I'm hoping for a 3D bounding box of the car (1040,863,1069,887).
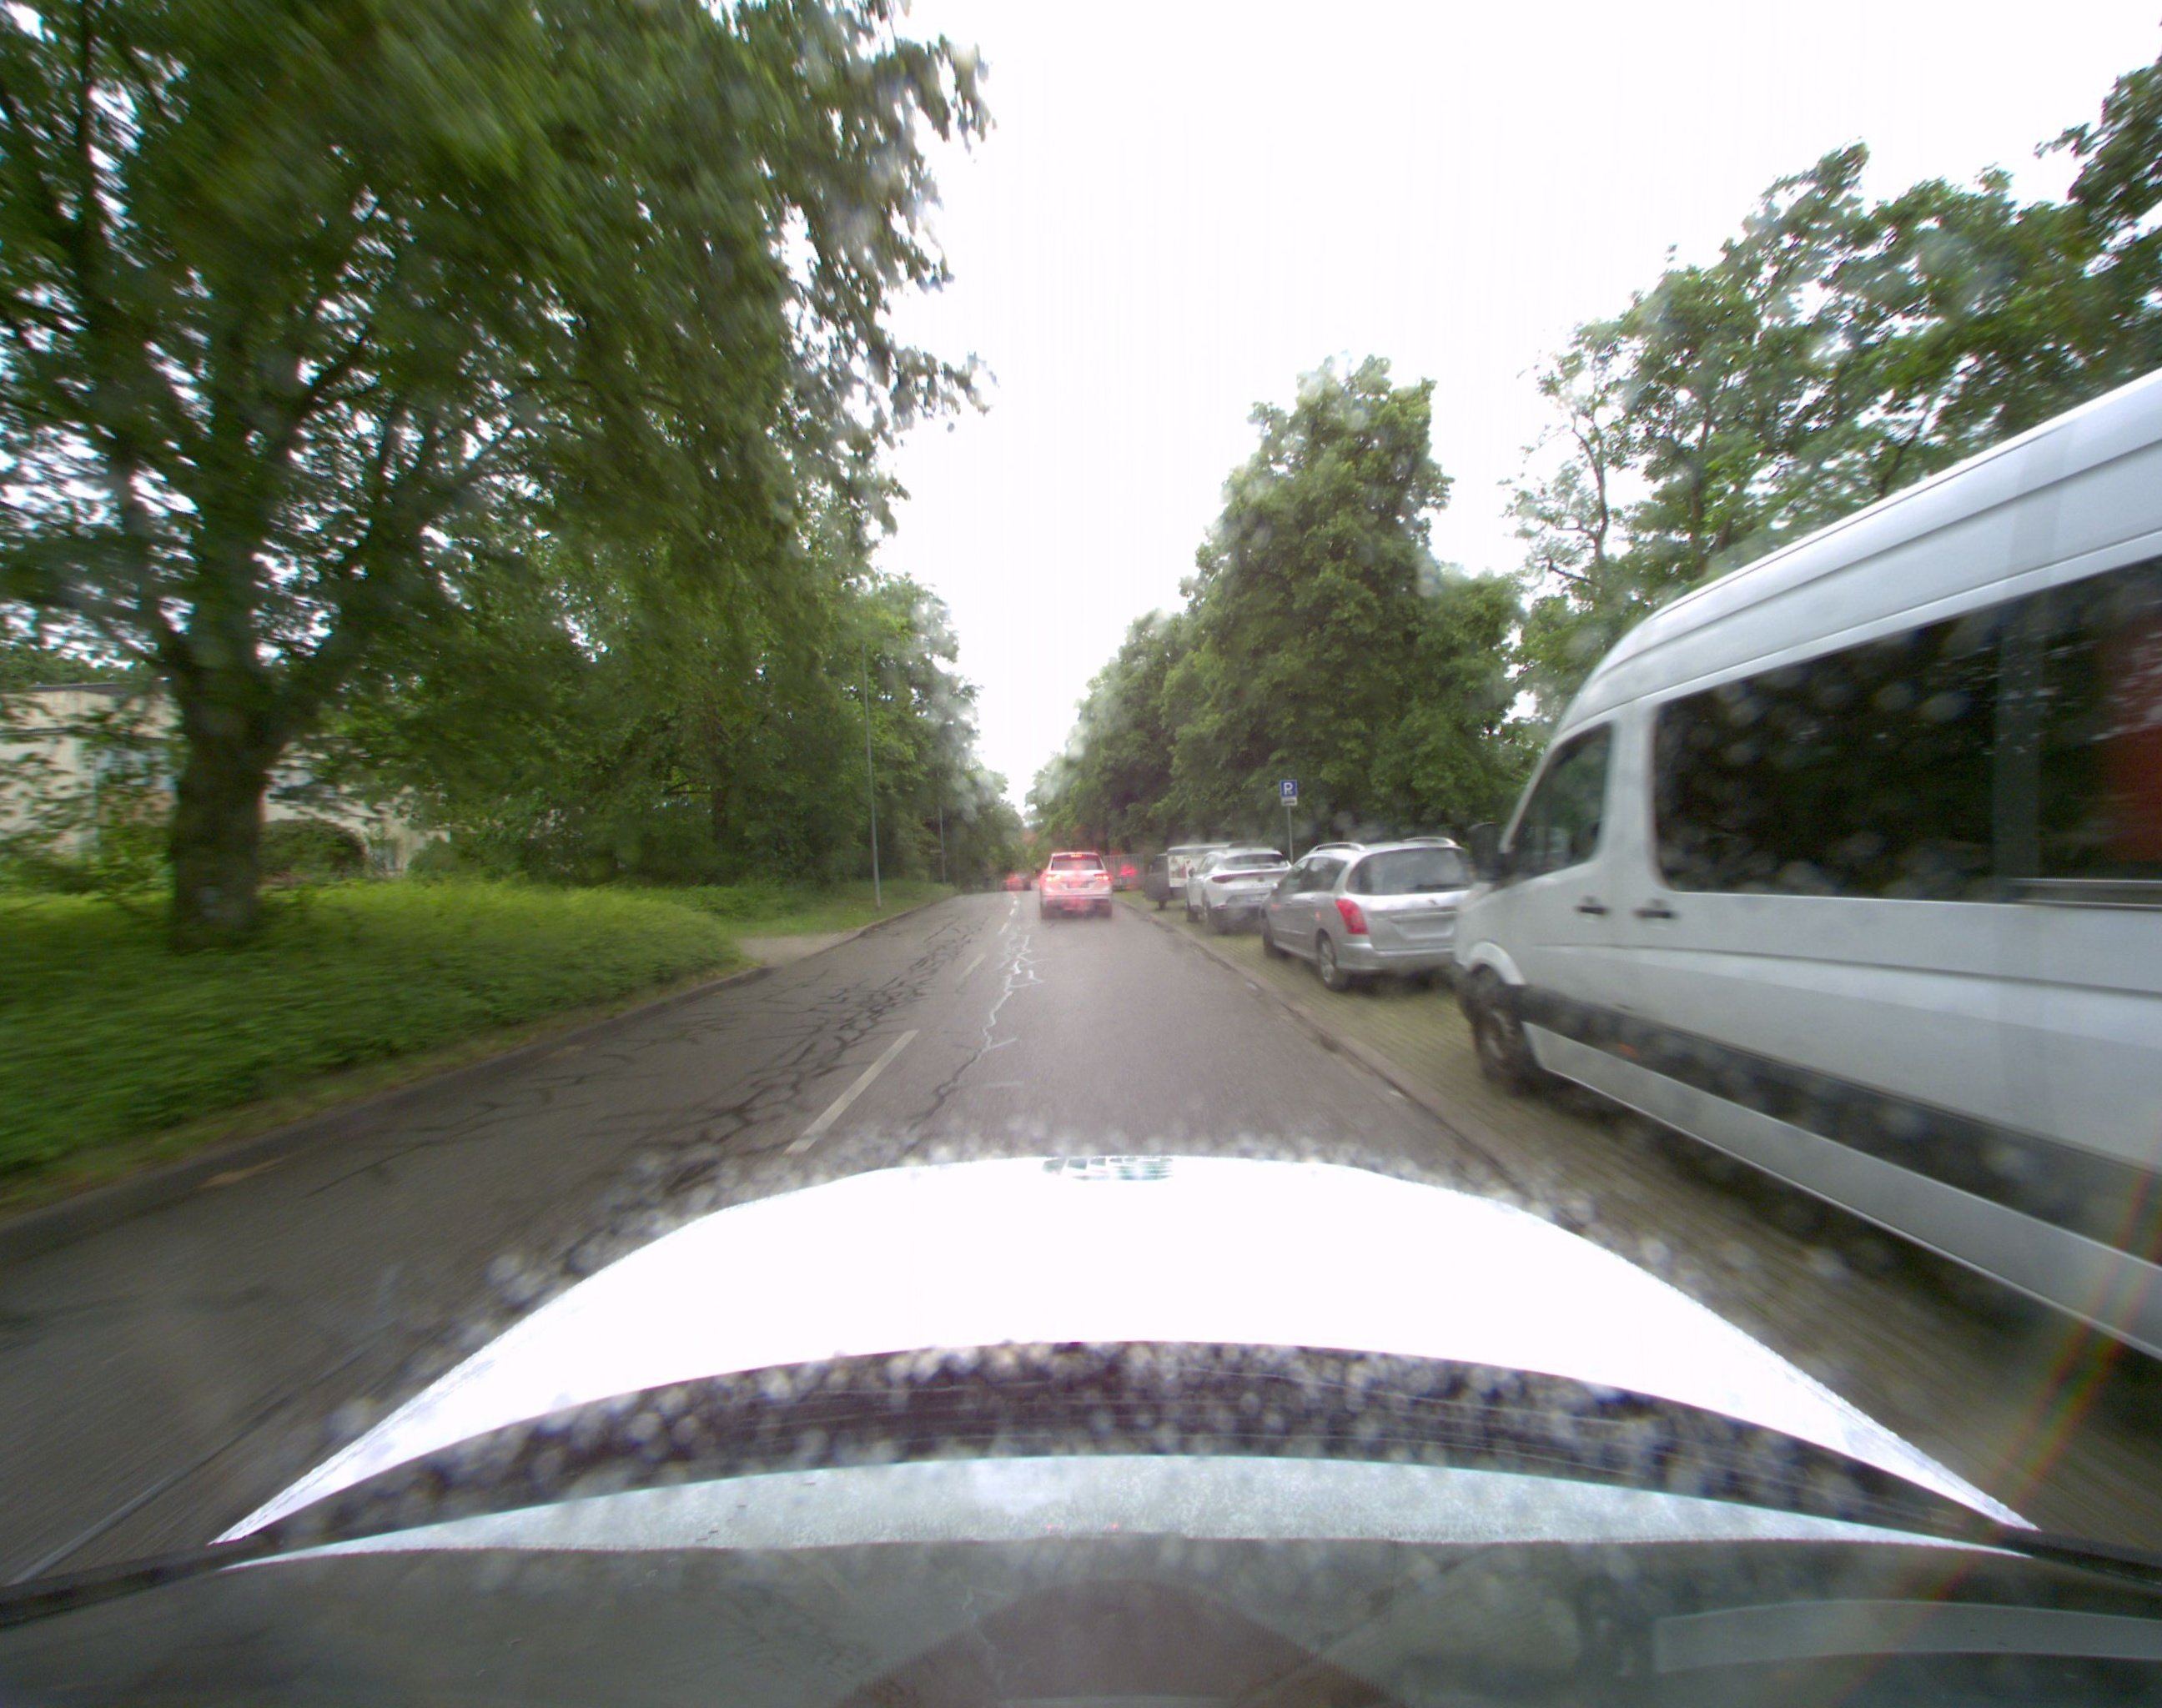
[{"bbox_3d":[-2.480,1.985,75.226,1.992,1.910,5.492,-3,-3,-8],"label":"car"}]

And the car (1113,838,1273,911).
[{"bbox_3d":[2.873,0.554,21.528,1.621,1.681,3.958,-4,0,-43],"label":"car"}]

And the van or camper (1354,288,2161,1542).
[{"bbox_3d":[3.307,0.076,3.184,2.007,2.582,8.444,-3,1,3],"label":"van or camper"}]

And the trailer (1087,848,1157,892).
[{"bbox_3d":[1.835,0.792,39.032,2.446,1.813,5.879,-4,-1,-6],"label":"trailer"}]

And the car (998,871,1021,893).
[{"bbox_3d":[-7.827,3.058,88.919,1.995,2.013,3.985,-3,2,-11],"label":"car"}]

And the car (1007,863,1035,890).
[{"bbox_3d":[-5.214,1.903,70.236,1.994,2.013,3.987,-3,2,-10],"label":"car"}]

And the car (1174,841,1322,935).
[{"bbox_3d":[3.150,0.562,16.392,1.987,1.497,4.566,-4,1,0],"label":"car"}]

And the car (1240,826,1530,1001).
[{"bbox_3d":[3.356,0.556,9.983,1.800,1.539,4.265,-4,0,-1],"label":"car"}]

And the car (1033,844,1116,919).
[{"bbox_3d":[-0.166,0.687,21.896,1.899,1.685,4.199,-4,-1,0],"label":"car"}]

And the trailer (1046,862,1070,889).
[{"bbox_3d":[-2.013,1.879,70.389,1.528,2.076,3.990,-4,-2,-7],"label":"trailer"}]
